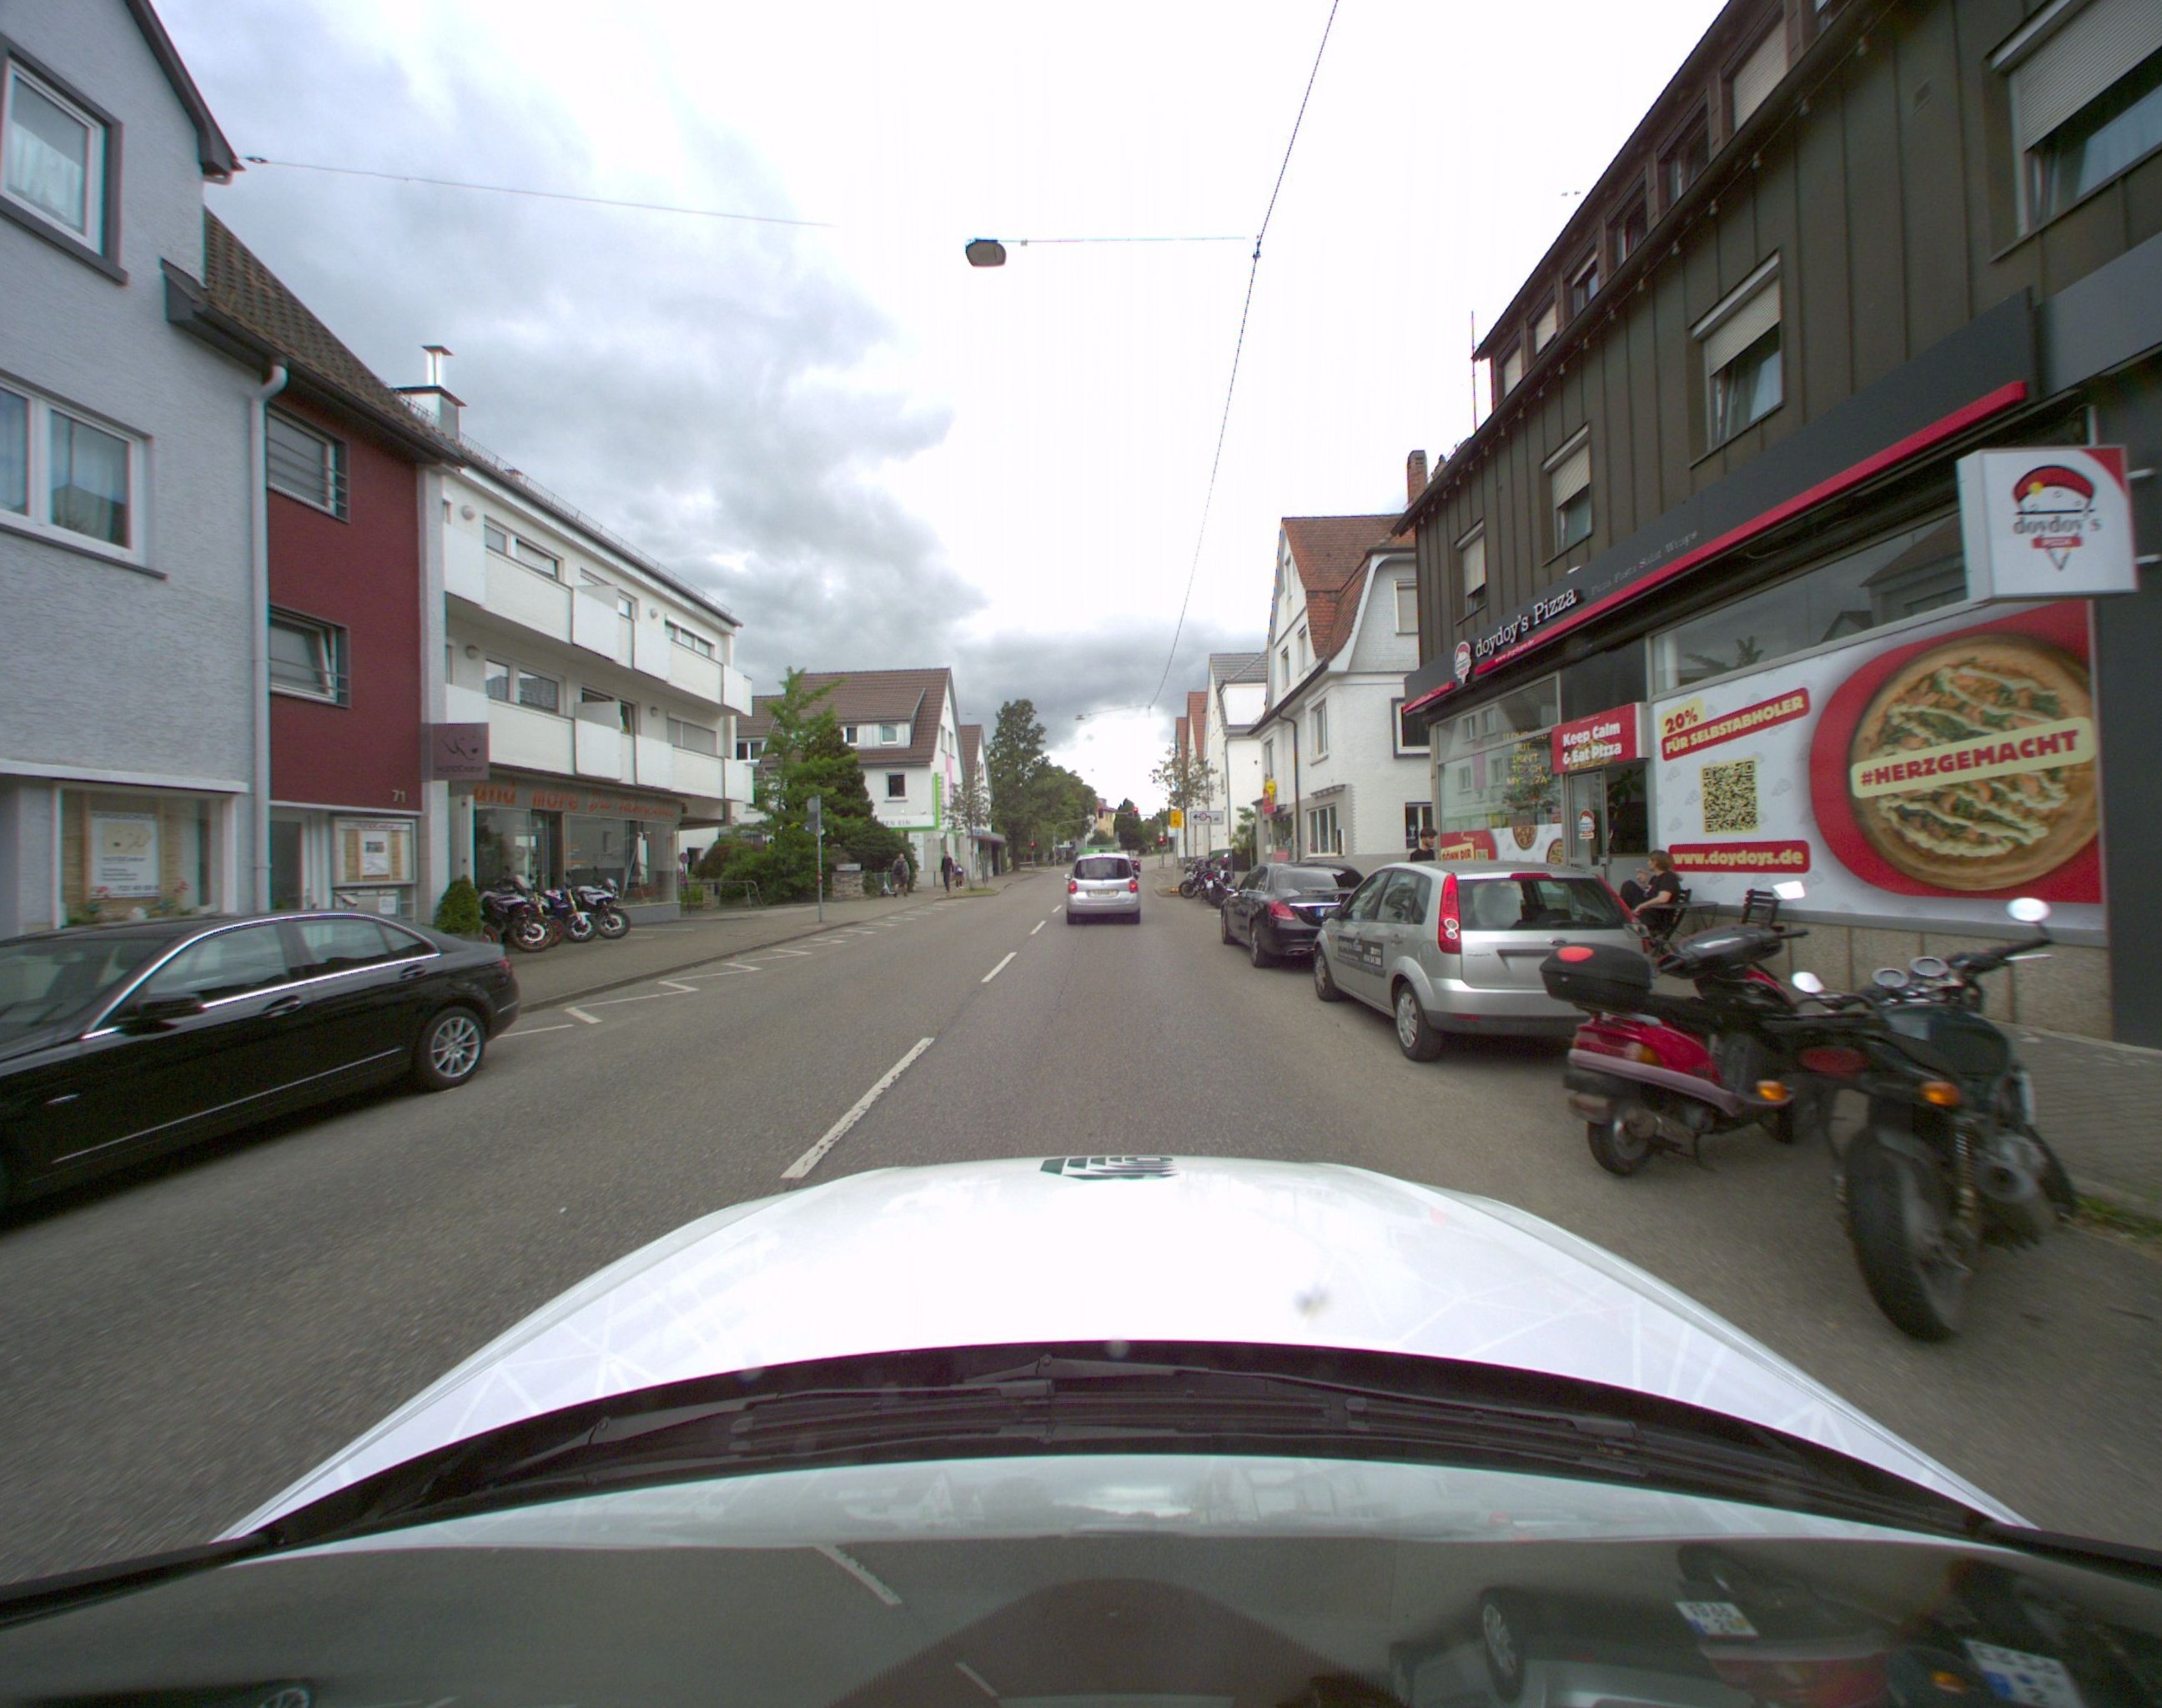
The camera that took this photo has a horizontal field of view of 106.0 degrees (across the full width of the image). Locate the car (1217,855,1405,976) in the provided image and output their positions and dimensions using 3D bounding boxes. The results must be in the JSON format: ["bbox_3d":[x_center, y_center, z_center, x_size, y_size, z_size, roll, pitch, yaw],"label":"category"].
[{"bbox_3d":[3.180,0.769,12.130,1.694,1.467,4.240,-1,0,1],"label":"car"}]

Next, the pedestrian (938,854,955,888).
[{"bbox_3d":[-7.072,0.891,42.832,0.713,1.756,0.696,-1,-1,1],"label":"pedestrian"}]

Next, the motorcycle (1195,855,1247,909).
[{"bbox_3d":[3.995,0.751,23.001,0.691,1.409,2.732,-1,-1,26],"label":"motorcycle"}]

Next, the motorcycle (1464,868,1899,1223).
[{"bbox_3d":[3.162,0.770,4.165,2.723,1.336,0.693,-1,-1,-29],"label":"motorcycle"}]

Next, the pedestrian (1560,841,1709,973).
[{"bbox_3d":[6.063,0.553,8.996,0.884,1.300,0.967,-6,-1,2],"label":"pedestrian"}]

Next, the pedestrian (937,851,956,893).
[{"bbox_3d":[-6.118,0.814,37.100,0.713,1.876,0.696,-1,-1,1],"label":"pedestrian"}]

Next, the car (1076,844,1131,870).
[{"bbox_3d":[2.615,0.323,93.741,5.955,2.907,2.237,-1,-1,-23],"label":"car"}]

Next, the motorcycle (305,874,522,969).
[{"bbox_3d":[-10.632,1.051,13.058,2.705,1.409,0.698,-1,-1,-8],"label":"motorcycle"}]

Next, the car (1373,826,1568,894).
[{"bbox_3d":[9.439,0.147,19.953,3.964,1.566,1.689,-1,0,2],"label":"car"}]

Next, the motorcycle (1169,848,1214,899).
[{"bbox_3d":[3.662,0.629,27.184,0.698,1.639,2.399,-1,0,-11],"label":"motorcycle"}]

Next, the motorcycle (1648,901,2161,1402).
[{"bbox_3d":[3.301,0.837,3.114,2.744,1.183,0.693,-1,-1,-29],"label":"motorcycle"}]

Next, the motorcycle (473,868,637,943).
[{"bbox_3d":[-10.524,1.009,16.374,2.705,1.409,0.698,-1,-1,-8],"label":"motorcycle"}]

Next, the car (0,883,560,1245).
[{"bbox_3d":[-5.655,1.043,4.874,1.941,1.467,4.518,-4,-1,2],"label":"car"}]

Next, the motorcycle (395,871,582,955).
[{"bbox_3d":[-10.673,1.047,14.759,2.705,1.409,0.698,-1,-1,-8],"label":"motorcycle"}]

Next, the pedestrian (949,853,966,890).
[{"bbox_3d":[-6.380,0.889,42.121,0.759,1.876,0.696,-1,-1,1],"label":"pedestrian"}]

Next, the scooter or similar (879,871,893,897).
[{"bbox_3d":[-8.078,1.240,33.763,0.372,1.034,0.560,-2,0,2],"label":"scooter or similar"}]

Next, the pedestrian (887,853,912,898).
[{"bbox_3d":[-7.384,0.877,33.137,0.760,1.791,0.890,-1,-1,1],"label":"pedestrian"}]

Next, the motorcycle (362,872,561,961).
[{"bbox_3d":[-10.544,1.040,13.944,2.705,1.409,0.698,-1,-1,-8],"label":"motorcycle"}]

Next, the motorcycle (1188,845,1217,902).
[{"bbox_3d":[3.667,0.563,24.497,0.693,1.639,2.417,-1,0,12],"label":"motorcycle"}]

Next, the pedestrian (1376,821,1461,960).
[{"bbox_3d":[4.859,0.508,11.777,0.853,1.928,0.900,-1,-1,2],"label":"pedestrian"}]

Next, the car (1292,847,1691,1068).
[{"bbox_3d":[3.204,0.694,7.315,1.694,1.430,3.891,-1,0,1],"label":"car"}]

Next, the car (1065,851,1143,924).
[{"bbox_3d":[0.586,0.733,19.538,1.675,1.566,3.996,-1,0,3],"label":"car"}]

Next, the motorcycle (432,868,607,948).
[{"bbox_3d":[-10.653,1.006,15.543,2.705,1.409,0.698,-1,-1,-8],"label":"motorcycle"}]
